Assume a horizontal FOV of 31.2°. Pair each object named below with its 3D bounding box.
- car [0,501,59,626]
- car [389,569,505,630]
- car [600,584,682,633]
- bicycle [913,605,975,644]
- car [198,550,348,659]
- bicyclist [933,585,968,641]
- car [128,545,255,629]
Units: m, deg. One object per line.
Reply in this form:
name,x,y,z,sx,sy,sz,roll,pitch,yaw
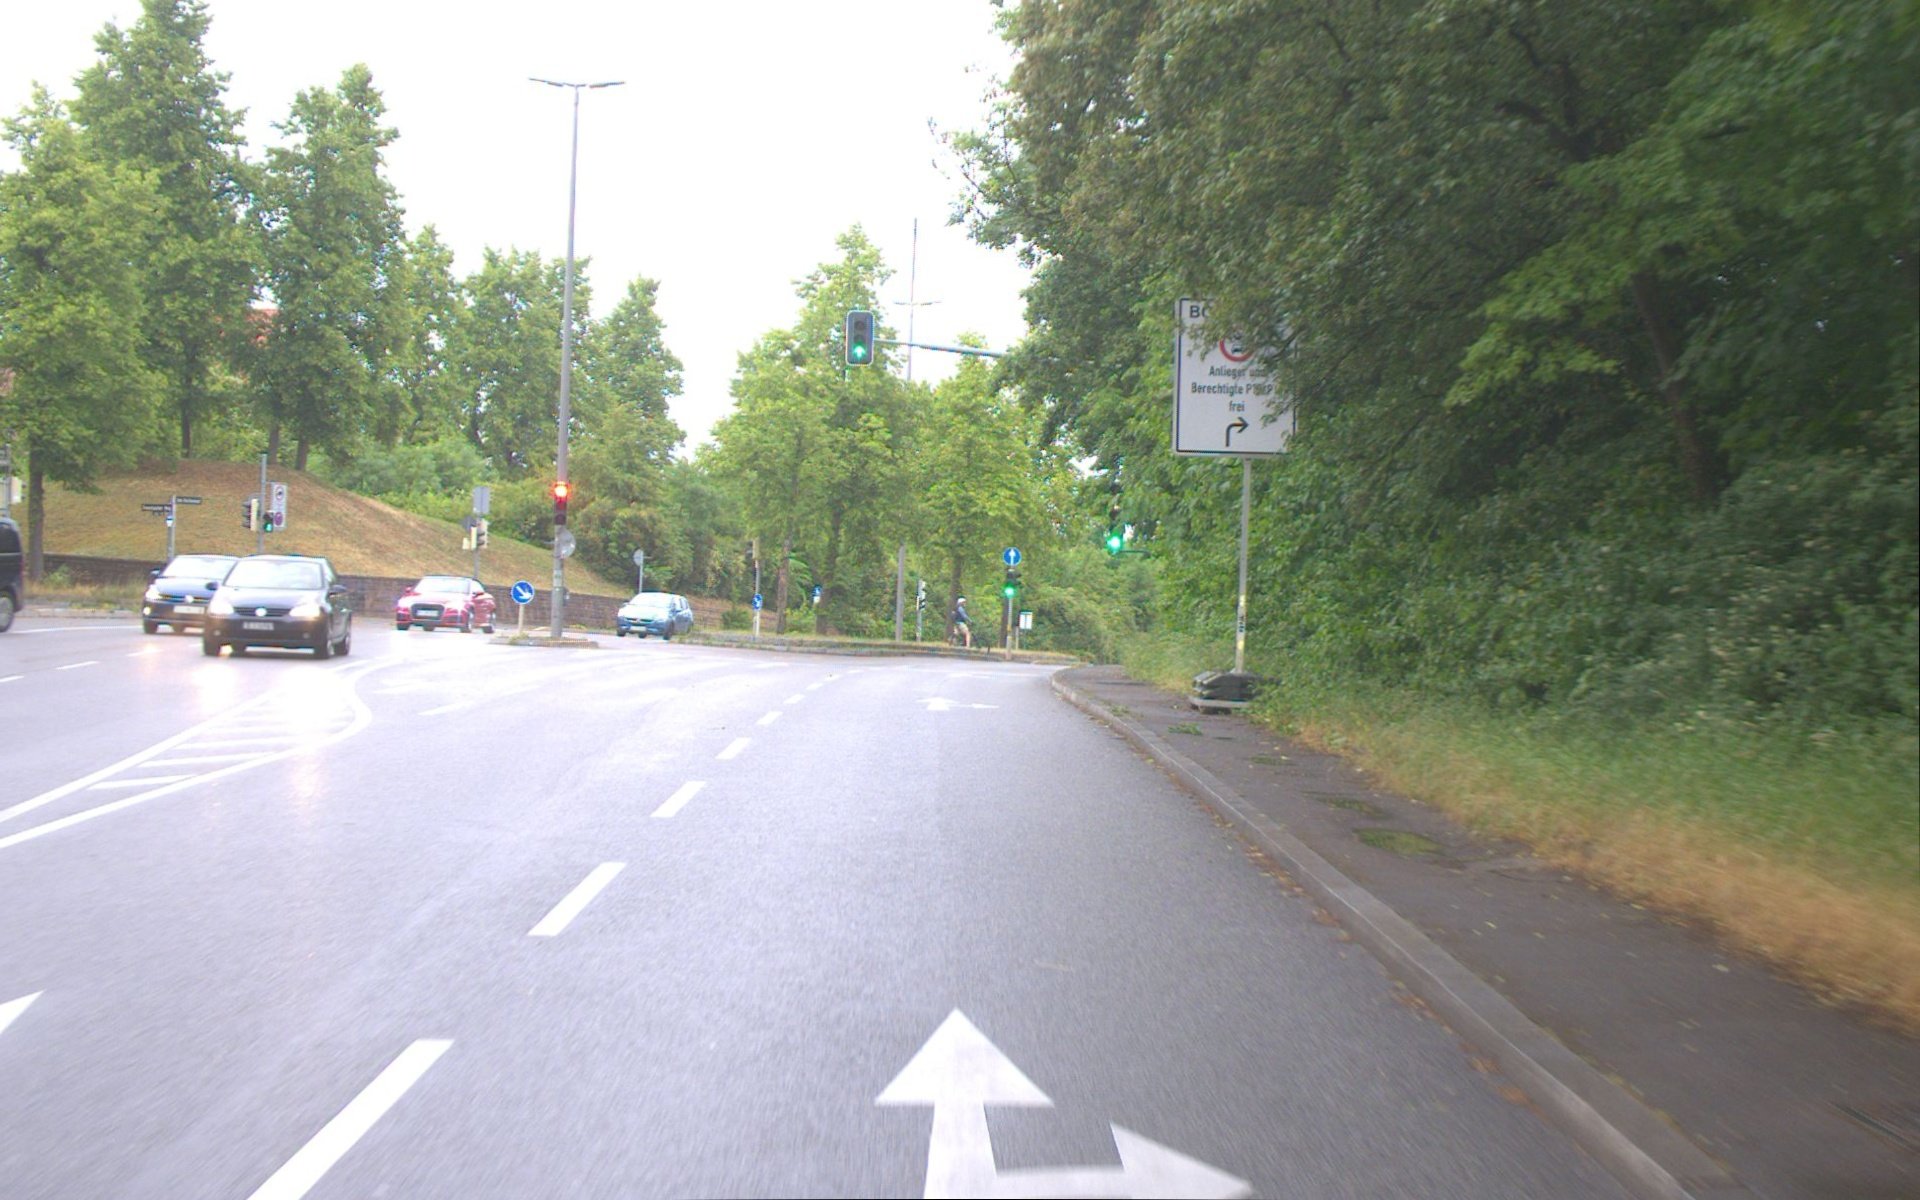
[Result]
car,-16.516,-0.640,53.608,2.105,1.939,5.154,2,0,21
car,-12.513,-0.029,84.052,1.875,1.369,4.384,2,1,4
car,-9.941,0.253,107.475,1.994,1.485,3.936,0,0,3
bicycle,-0.516,0.808,111.639,2.134,1.139,0.554,4,-1,-42
car,-9.847,0.037,49.477,1.700,1.422,4.079,2,1,-6
bicyclist,-0.315,0.435,111.886,0.799,1.746,0.725,5,-5,-42
car,-13.435,-0.238,60.255,1.631,1.389,4.001,1,1,-5
